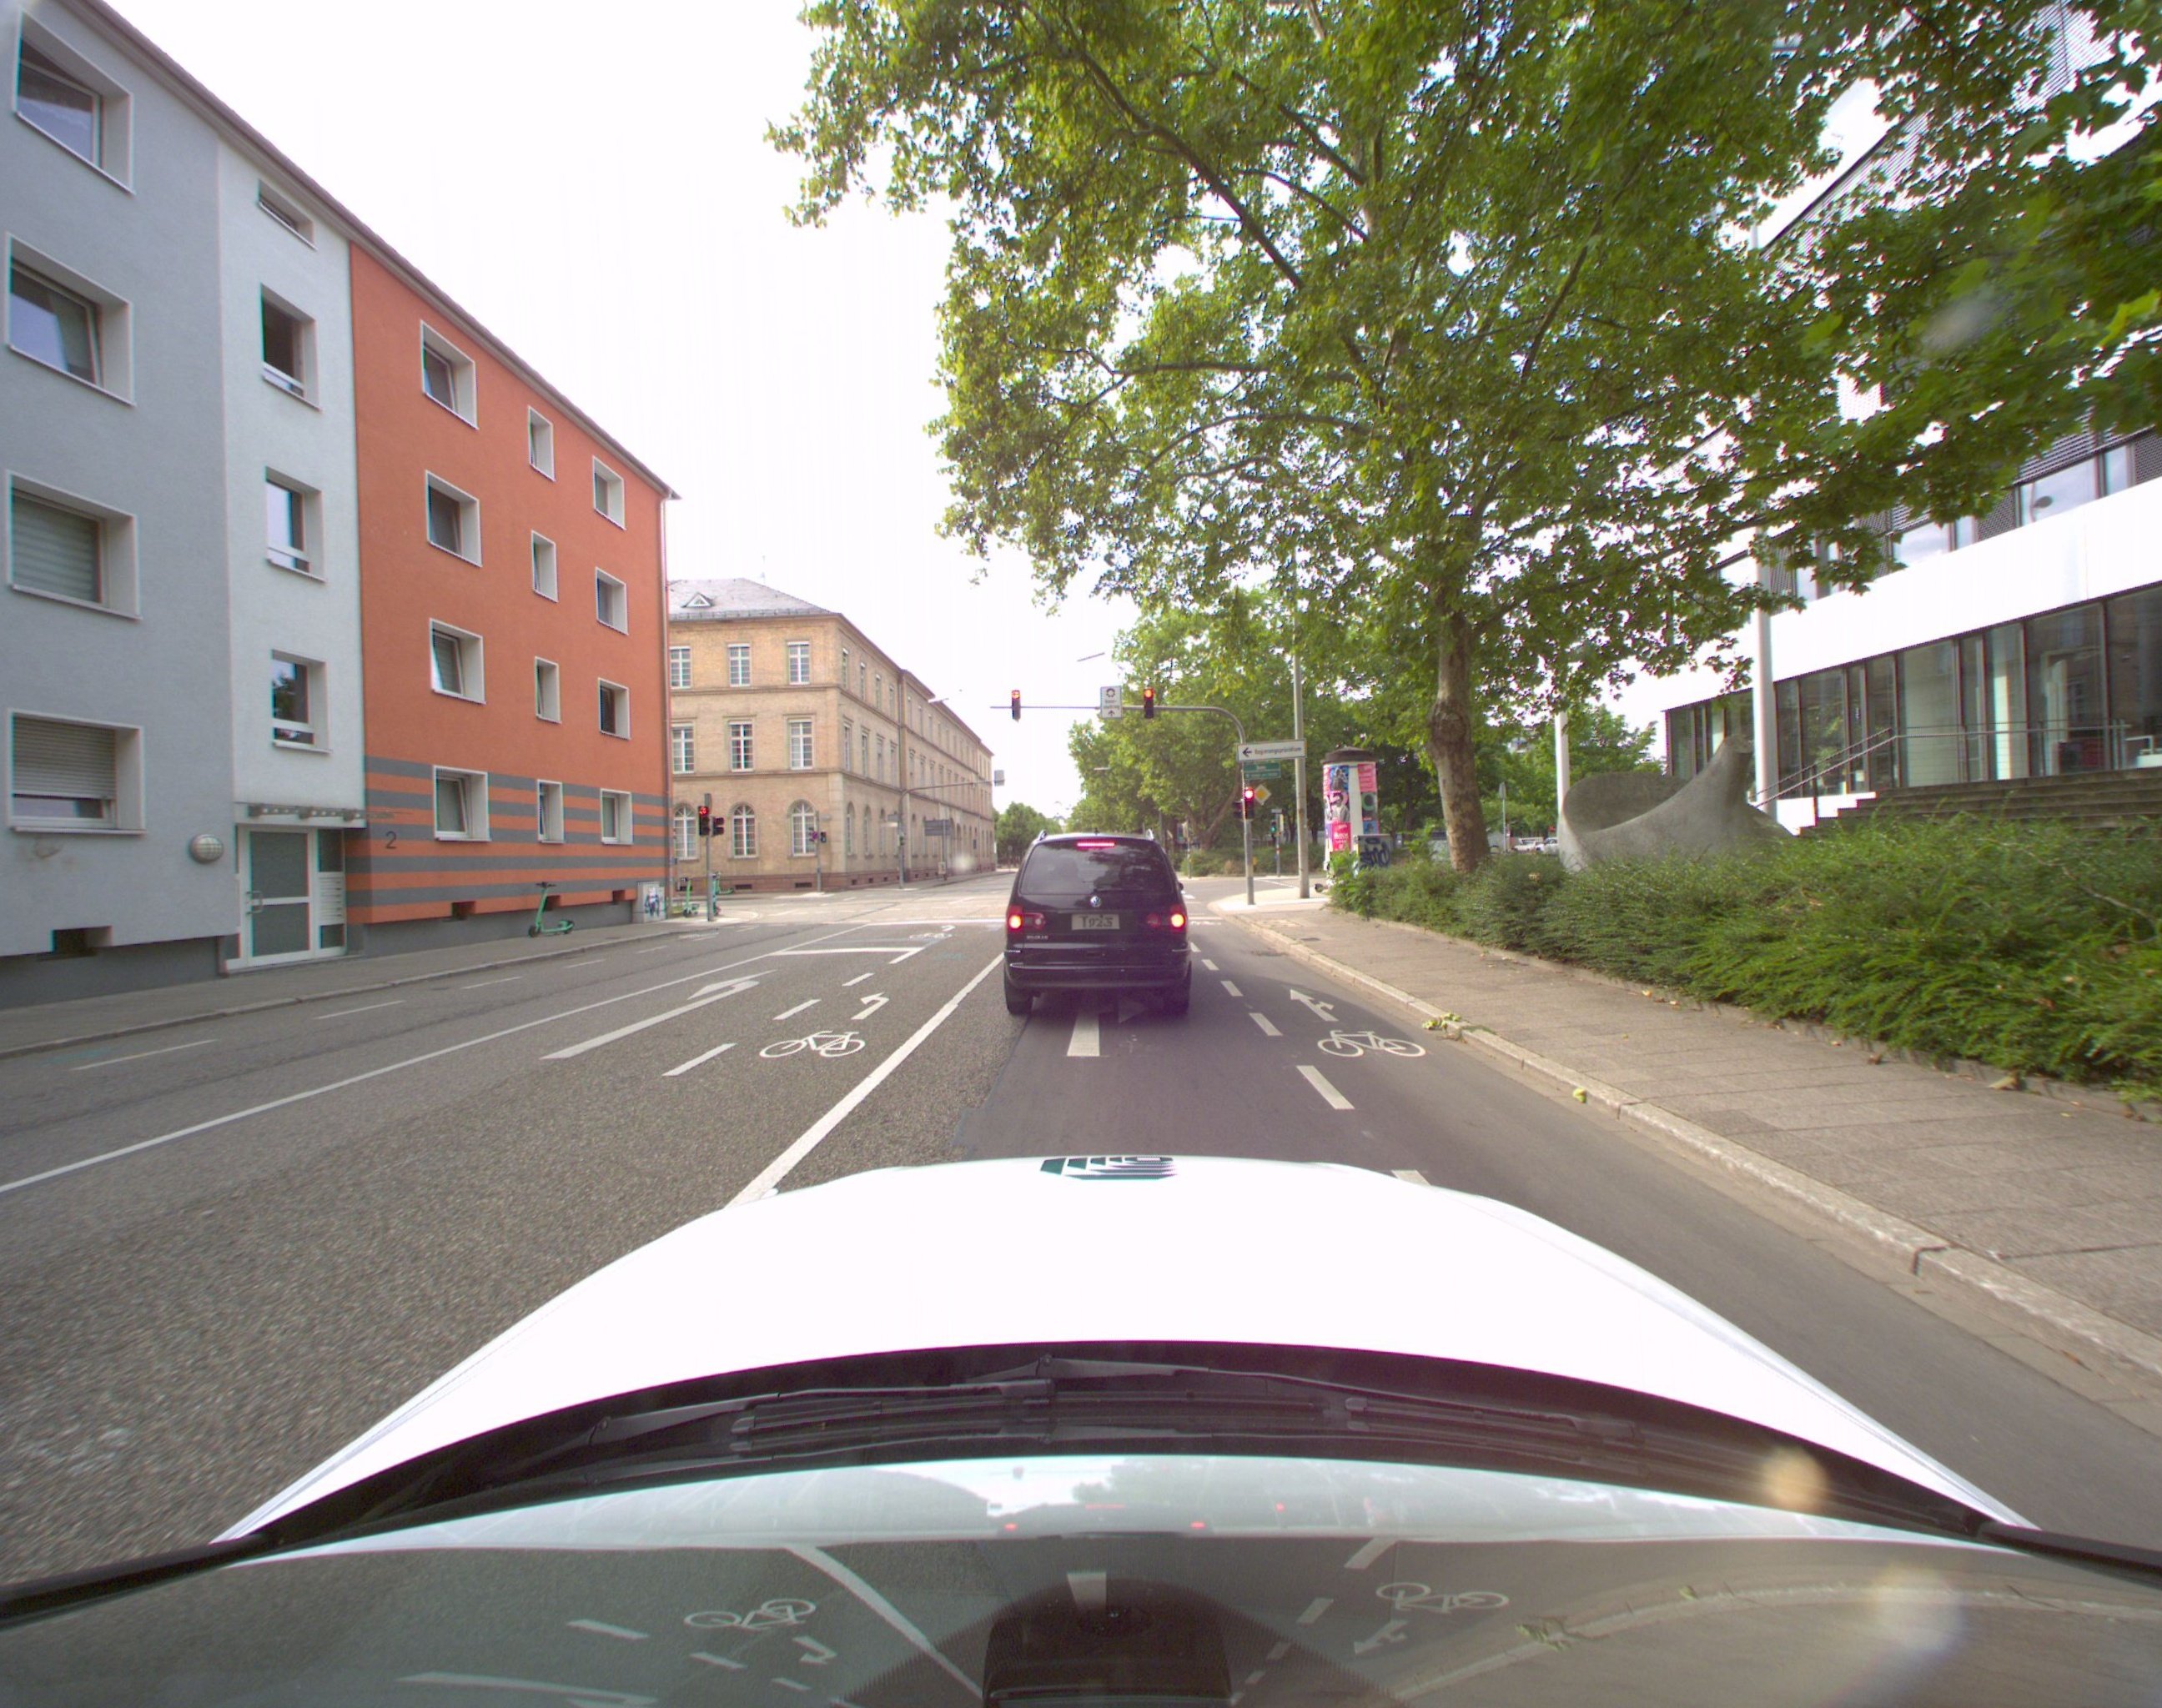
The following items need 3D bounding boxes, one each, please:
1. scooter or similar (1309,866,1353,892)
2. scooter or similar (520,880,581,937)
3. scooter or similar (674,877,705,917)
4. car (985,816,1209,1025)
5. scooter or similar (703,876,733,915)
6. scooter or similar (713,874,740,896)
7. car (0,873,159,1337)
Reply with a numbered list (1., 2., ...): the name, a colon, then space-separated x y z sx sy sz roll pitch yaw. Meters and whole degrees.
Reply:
1. scooter or similar: 7.635 0.760 24.915 1.214 0.736 0.369 -2 0 1
2. scooter or similar: -11.588 1.168 17.821 0.376 1.184 1.390 -2 -2 2
3. scooter or similar: -11.547 1.250 24.040 0.377 1.147 1.141 -2 -2 -2
4. car: 0.290 0.567 9.248 1.865 1.745 4.578 -2 0 4
5. scooter or similar: -10.941 1.233 24.572 0.377 1.144 1.141 -2 -2 -2
6. scooter or similar: -17.193 1.509 39.538 1.134 1.049 0.379 -2 -2 1
7. car: -4.245 0.832 0.807 1.706 1.420 4.253 -3 0 1
